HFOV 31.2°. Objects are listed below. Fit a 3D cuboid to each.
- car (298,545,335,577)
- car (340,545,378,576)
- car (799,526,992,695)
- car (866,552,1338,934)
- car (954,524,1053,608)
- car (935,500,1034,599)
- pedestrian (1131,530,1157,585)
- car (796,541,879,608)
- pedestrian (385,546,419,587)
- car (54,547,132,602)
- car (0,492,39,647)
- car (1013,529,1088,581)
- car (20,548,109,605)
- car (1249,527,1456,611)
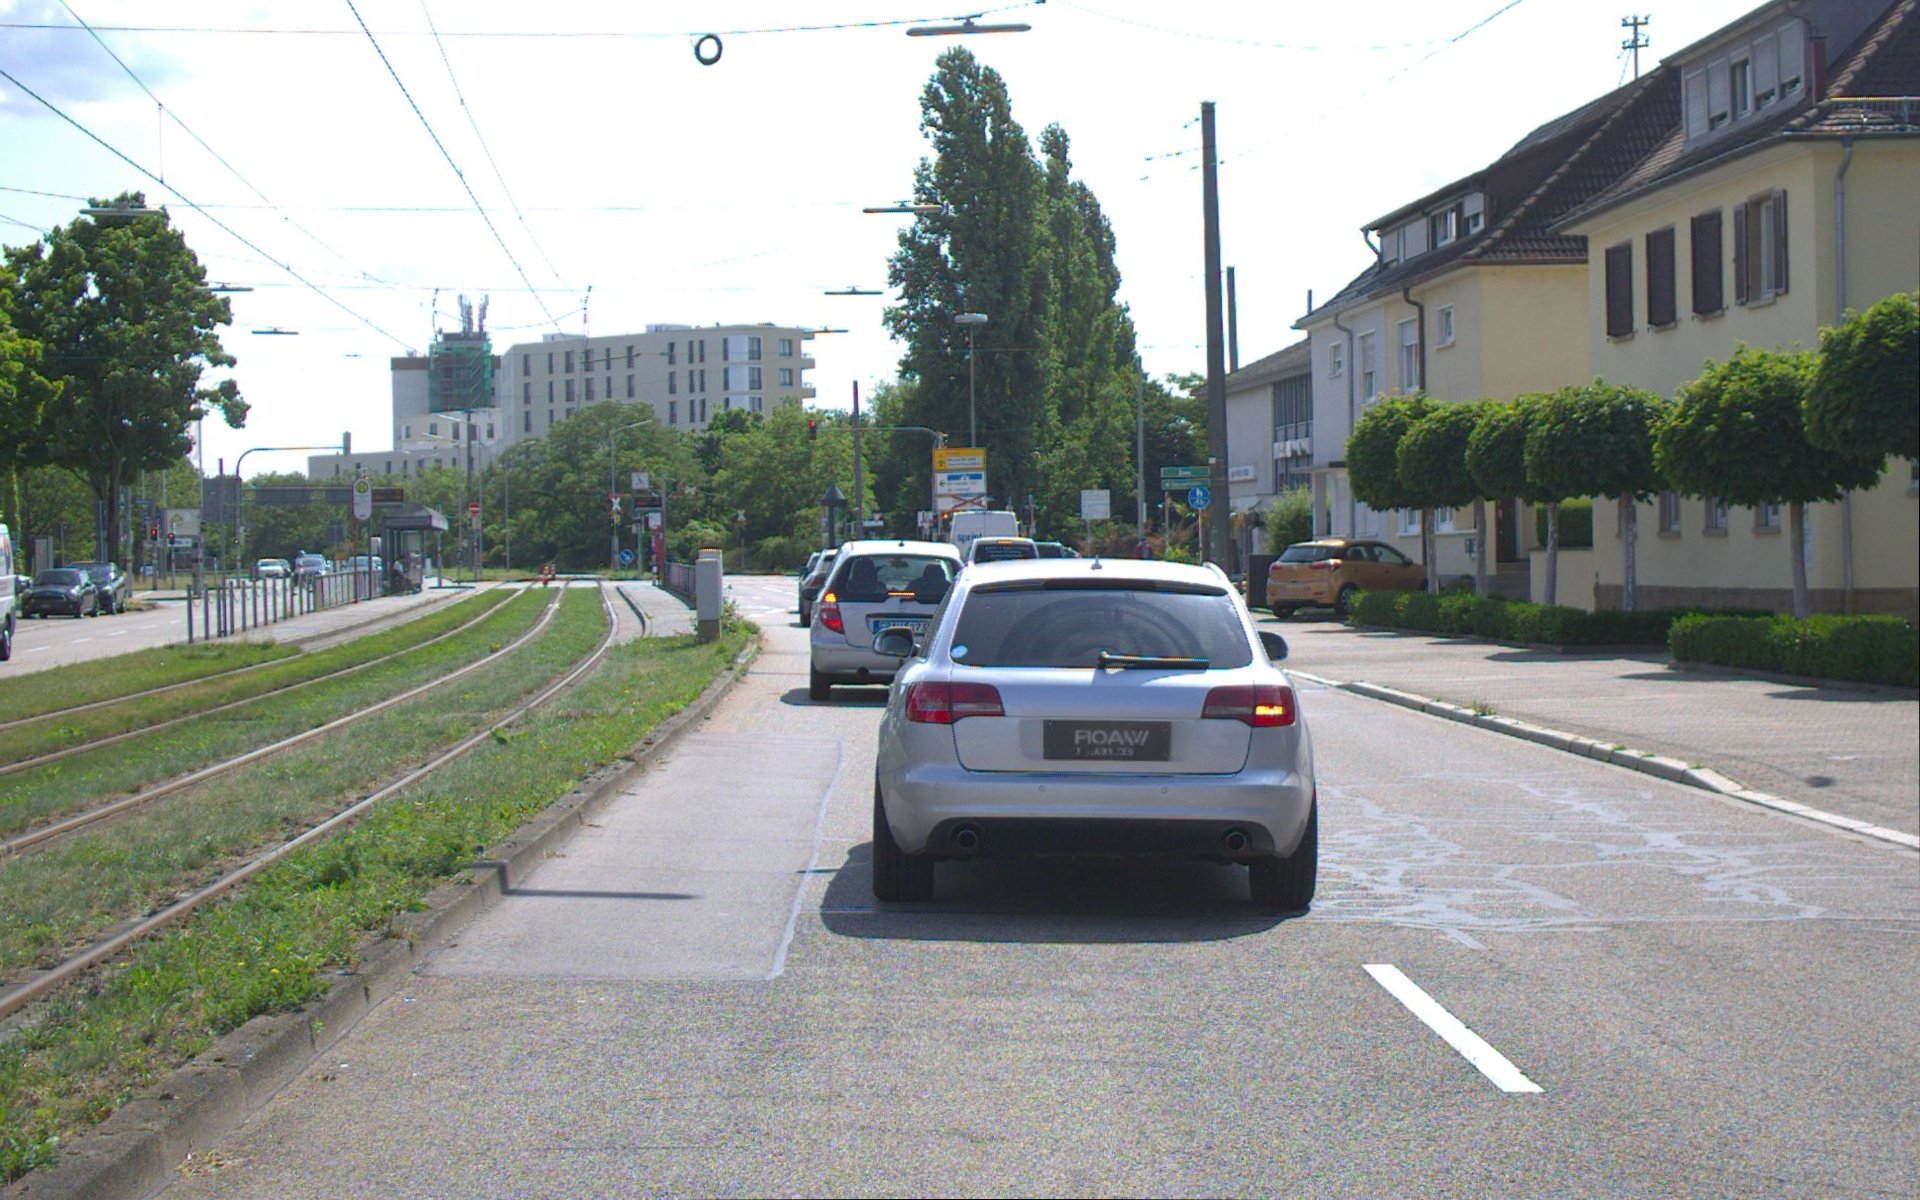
[{"bbox_3d":[-33.908,-2.041,181.296,1.862,1.645,4.001,1,0,-10],"label":"car"},{"bbox_3d":[-30.907,-2.034,176.811,1.896,1.536,3.730,1,0,-10],"label":"car"},{"bbox_3d":[-0.712,0.061,34.927,1.787,1.571,4.095,2,1,-3],"label":"car"},{"bbox_3d":[0.604,0.532,15.832,1.854,1.487,4.536,0,1,1],"label":"car"},{"bbox_3d":[0.961,-0.740,73.252,1.885,1.725,4.094,-1,1,3],"label":"car"},{"bbox_3d":[0.617,-1.356,92.025,2.040,2.549,5.232,0,1,-6],"label":"car"},{"bbox_3d":[6.189,-1.432,115.546,0.721,1.776,0.703,-3,1,-3],"label":"pedestrian"},{"bbox_3d":[-2.912,-0.599,81.496,1.885,1.525,4.095,1,0,-2],"label":"car"},{"bbox_3d":[-18.843,-1.143,116.158,1.058,1.371,0.860,1,0,-6],"label":"pedestrian"},{"bbox_3d":[-26.574,-0.816,105.487,2.059,1.608,4.755,-1,1,-11],"label":"car"},{"bbox_3d":[-15.688,-0.434,52.416,2.196,2.364,5.333,-2,1,-5],"label":"car"},{"bbox_3d":[2.933,-1.458,112.508,1.884,1.631,4.095,1,0,-6],"label":"car"},{"bbox_3d":[-25.836,-0.700,99.294,1.786,1.578,3.931,0,1,-4],"label":"car"},{"bbox_3d":[7.687,-0.636,67.134,1.915,1.453,4.083,1,4,44],"label":"car"}]
